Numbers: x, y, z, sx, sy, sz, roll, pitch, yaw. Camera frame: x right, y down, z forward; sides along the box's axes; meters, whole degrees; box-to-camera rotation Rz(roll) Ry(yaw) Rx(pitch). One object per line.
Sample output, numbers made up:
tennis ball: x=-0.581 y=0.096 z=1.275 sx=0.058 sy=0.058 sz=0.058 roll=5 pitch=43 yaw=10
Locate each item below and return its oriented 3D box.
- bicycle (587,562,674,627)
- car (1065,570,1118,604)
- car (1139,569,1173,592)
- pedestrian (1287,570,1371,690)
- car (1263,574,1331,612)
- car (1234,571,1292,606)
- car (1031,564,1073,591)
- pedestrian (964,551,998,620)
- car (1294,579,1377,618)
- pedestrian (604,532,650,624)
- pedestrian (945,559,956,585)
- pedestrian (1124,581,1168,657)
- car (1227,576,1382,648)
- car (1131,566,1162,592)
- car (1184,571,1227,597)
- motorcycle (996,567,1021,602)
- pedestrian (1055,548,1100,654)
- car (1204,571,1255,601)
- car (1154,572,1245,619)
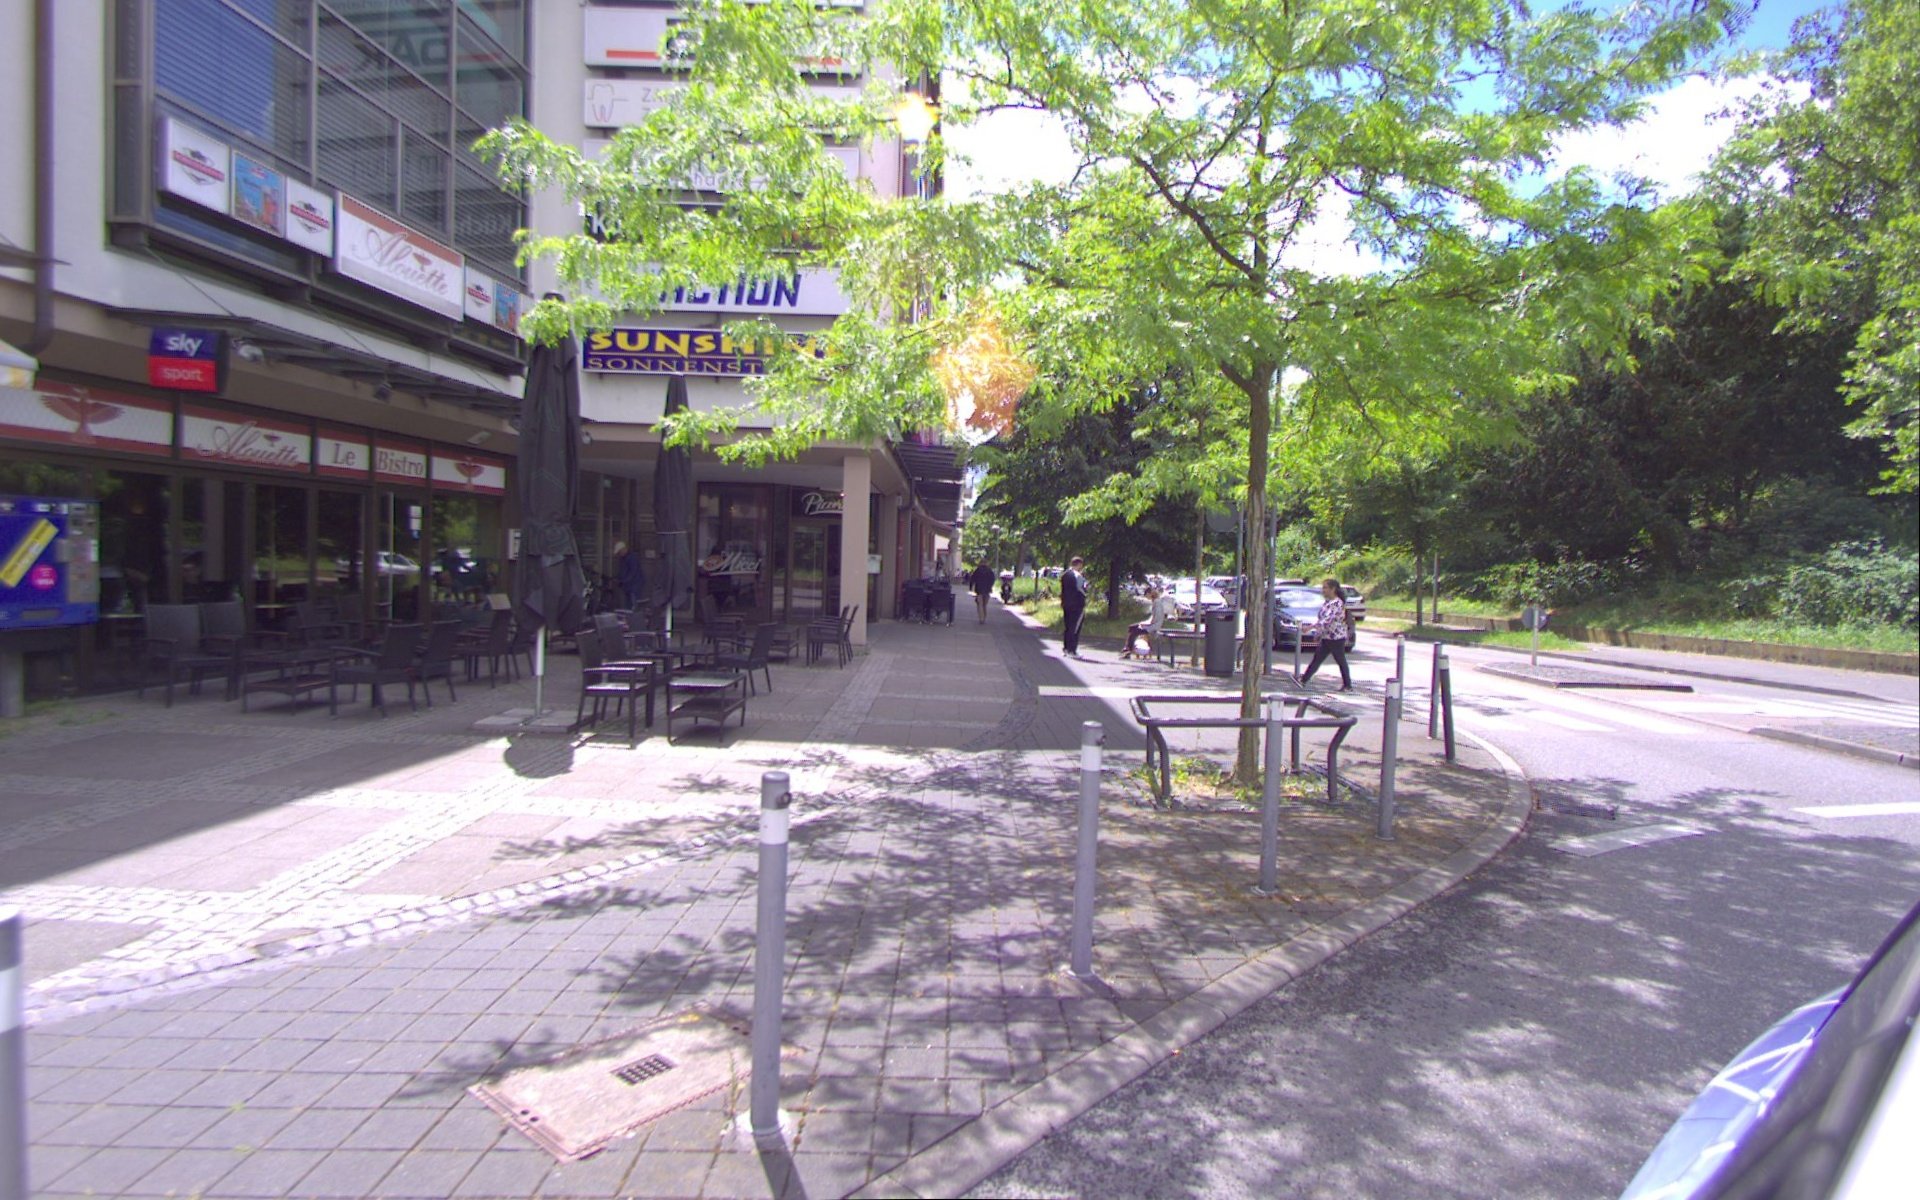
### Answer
bicycle: x=-6.233 y=-0.104 z=19.194 sx=0.494 sy=1.183 sz=1.520 roll=2 pitch=0 yaw=42
car: x=6.569 y=-0.686 z=51.074 sx=1.962 sy=1.526 sz=4.587 roll=2 pitch=2 yaw=-1
car: x=13.953 y=-1.382 z=72.197 sx=1.901 sy=1.504 sz=3.995 roll=3 pitch=2 yaw=5
pedestrian: x=5.095 y=0.392 z=13.973 sx=0.753 sy=1.573 sz=0.777 roll=1 pitch=2 yaw=-45
car: x=14.814 y=-0.361 z=44.740 sx=1.901 sy=1.504 sz=3.995 roll=3 pitch=2 yaw=5
car: x=14.841 y=-0.602 z=49.721 sx=1.901 sy=1.504 sz=3.996 roll=3 pitch=2 yaw=5
car: x=5.616 y=-1.421 z=62.403 sx=1.961 sy=1.526 sz=4.588 roll=2 pitch=2 yaw=-2
pedestrian: x=0.528 y=-0.371 z=25.676 sx=0.604 sy=1.695 sz=0.699 roll=2 pitch=1 yaw=-15
car: x=14.348 y=-0.081 z=38.912 sx=1.724 sy=1.346 sz=4.001 roll=-1 pitch=2 yaw=0
pedestrian: x=-6.317 y=-0.414 z=19.242 sx=0.605 sy=1.695 sz=0.698 roll=2 pitch=1 yaw=-2
pedestrian: x=-0.626 y=-1.857 z=67.010 sx=0.570 sy=1.695 sz=0.663 roll=2 pitch=1 yaw=-4
pedestrian: x=3.298 y=0.326 z=17.954 sx=0.687 sy=1.300 sz=0.615 roll=3 pitch=1 yaw=11
car: x=8.017 y=0.203 z=24.069 sx=1.961 sy=1.526 sz=4.588 roll=0 pitch=2 yaw=-2
car: x=14.483 y=-1.656 z=78.772 sx=1.901 sy=1.826 sz=3.995 roll=3 pitch=2 yaw=5
car: x=15.051 y=-1.015 z=62.262 sx=1.901 sy=1.504 sz=3.995 roll=3 pitch=2 yaw=5
motorcycle: x=1.890 y=-0.625 z=39.503 sx=0.841 sy=1.307 sz=2.187 roll=2 pitch=2 yaw=1
pedestrian: x=2.090 y=0.005 z=18.031 sx=0.685 sy=1.841 sz=0.617 roll=2 pitch=2 yaw=3
car: x=14.564 y=-0.796 z=54.857 sx=1.901 sy=1.504 sz=3.995 roll=3 pitch=2 yaw=5
car: x=8.500 y=-0.204 z=36.338 sx=1.961 sy=1.526 sz=4.588 roll=1 pitch=2 yaw=-2
